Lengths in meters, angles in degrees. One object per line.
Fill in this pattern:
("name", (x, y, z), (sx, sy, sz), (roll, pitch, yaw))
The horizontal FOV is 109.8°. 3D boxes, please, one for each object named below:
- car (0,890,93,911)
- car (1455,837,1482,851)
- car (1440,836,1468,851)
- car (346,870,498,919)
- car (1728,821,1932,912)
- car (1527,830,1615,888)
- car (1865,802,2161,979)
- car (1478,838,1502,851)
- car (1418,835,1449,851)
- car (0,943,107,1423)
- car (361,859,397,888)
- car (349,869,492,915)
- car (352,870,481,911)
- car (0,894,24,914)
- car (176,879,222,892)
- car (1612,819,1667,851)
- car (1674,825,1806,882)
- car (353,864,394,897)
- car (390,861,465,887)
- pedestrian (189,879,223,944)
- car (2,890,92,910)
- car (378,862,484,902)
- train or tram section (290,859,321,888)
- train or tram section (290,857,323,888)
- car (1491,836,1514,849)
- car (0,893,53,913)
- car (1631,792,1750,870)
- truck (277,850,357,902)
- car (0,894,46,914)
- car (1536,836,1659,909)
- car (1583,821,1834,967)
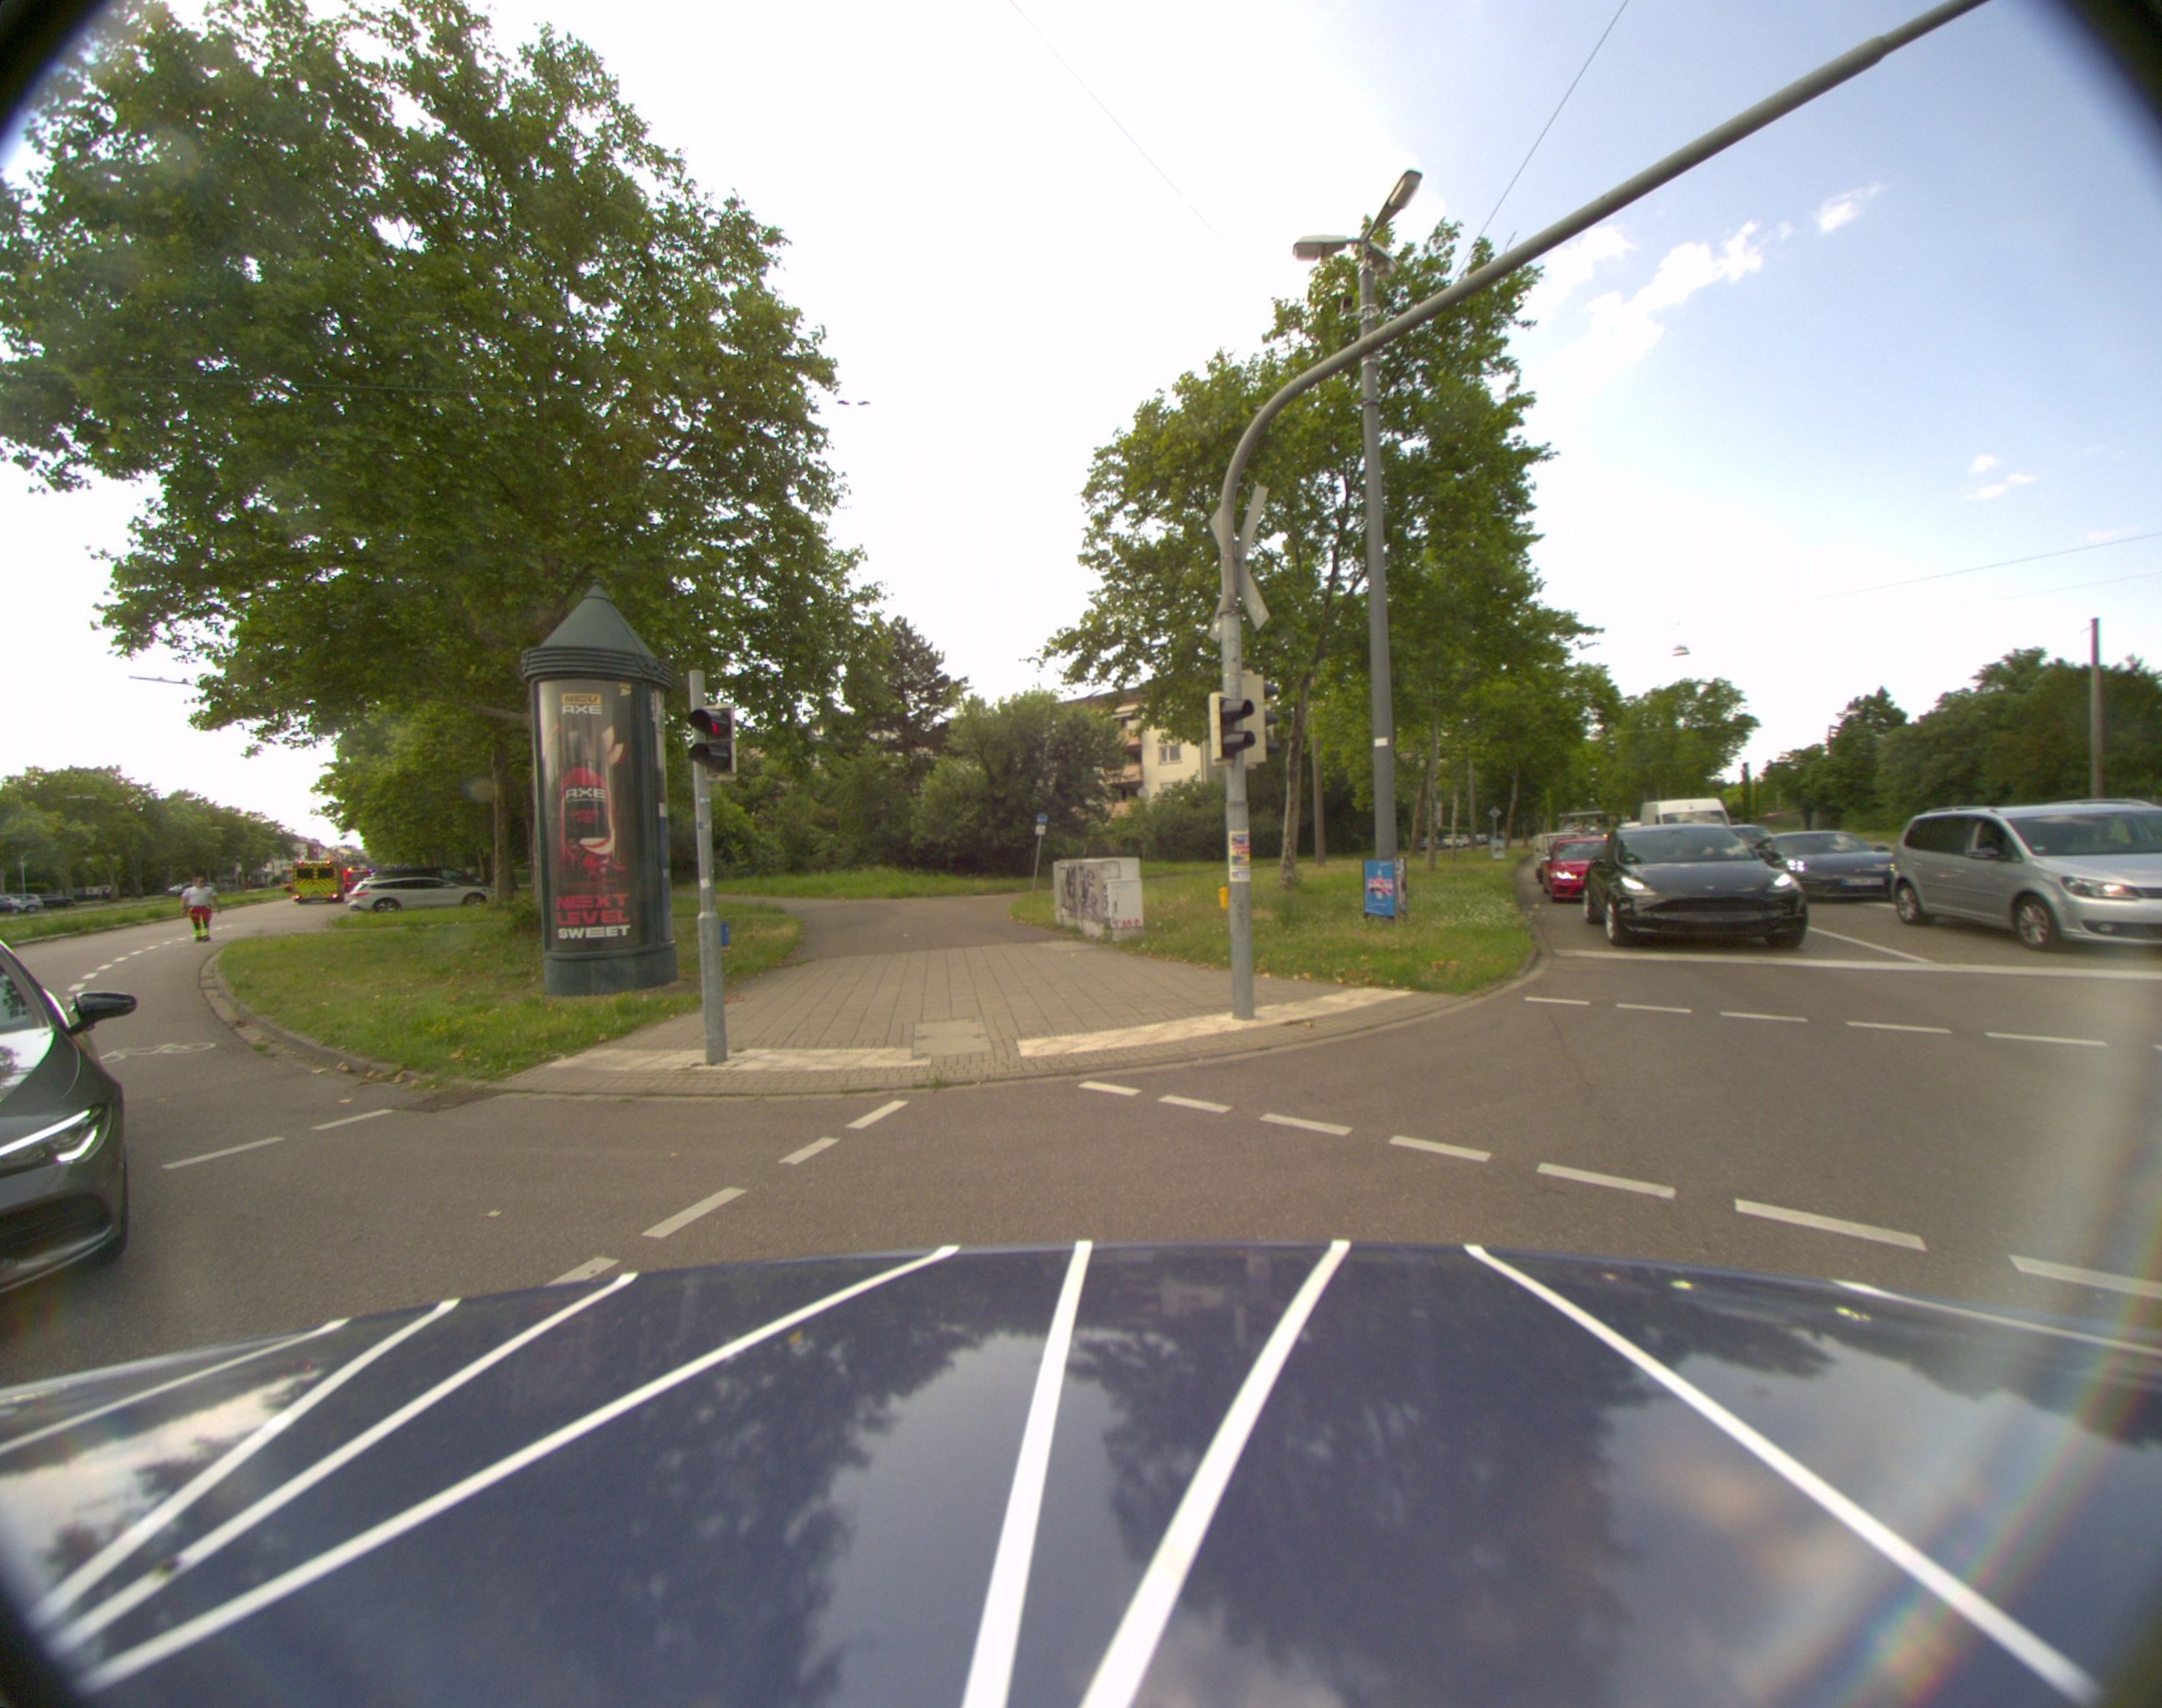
("car", (-86.044, 3.877, 63.197), (1.897, 1.356, 4.322), (-2, 1, 27))
("car", (44.724, -1.126, 87.681), (1.772, 1.586, 3.664), (-2, -1, 43))
("car", (41.520, -1.110, 84.626), (1.772, 1.586, 3.664), (-2, -1, 43))
("car", (-27.007, 1.604, 31.270), (4.551, 1.634, 1.995), (-3, 0, -43))
("car", (14.576, 0.175, 15.074), (1.800, 1.499, 4.006), (-4, 0, 29))
("car", (15.247, 0.100, 23.856), (1.798, 1.560, 4.509), (-4, 0, 27))
("car", (11.696, 0.274, 9.017), (1.926, 1.642, 4.509), (-4, 0, 27))
("car", (51.758, -1.157, 96.205), (1.772, 1.586, 3.664), (-2, -1, 43))
("car", (35.948, -1.081, 77.458), (1.772, 1.586, 3.664), (-2, -1, 43))
("car", (-5.809, 1.228, 3.192), (4.594, 1.385, 1.845), (-2, -1, 35))
("car", (-82.793, 2.330, 89.636), (2.981, 3.310, 7.439), (-1, -1, -43))
("car", (-28.743, 1.613, 33.177), (4.551, 1.634, 1.995), (-3, 0, -43))
("car", (-32.256, 1.736, 36.968), (4.551, 1.634, 1.995), (-3, 0, -43))
("car", (-80.477, 3.766, 55.005), (1.897, 1.356, 4.322), (-2, 1, 27))
("car", (-132.024, 4.730, 113.782), (1.818, 1.827, 4.006), (-2, -1, 18))
("car", (30.941, -1.062, 42.192), (1.760, 1.637, 4.350), (-2, 1, 27))
("car", (18.345, -0.060, 21.388), (1.761, 1.367, 4.350), (-4, 0, 27))
("car", (-74.438, 2.778, 79.994), (2.981, 3.297, 7.439), (-1, -1, -43))
("car", (-88.329, 2.672, 102.810), (2.967, 3.310, 7.475), (-2, -1, 44))
("pedestrian", (-23.518, 1.530, 20.429), (0.495, 1.674, 0.585), (-3, 1, -43))
("car", (-89.771, 4.011, 66.025), (1.897, 1.356, 4.322), (-2, 1, 27))
("car", (-38.153, 1.626, 44.754), (4.565, 2.002, 1.995), (-3, 1, -40))
("train or tram section", (-100.271, 2.484, 98.170), (7.401, 3.576, 2.500), (-1, 2, 43))
("train or tram section", (-94.910, 2.279, 93.103), (7.401, 3.576, 2.500), (-1, 2, 43))
("car", (56.761, -1.516, 102.330), (1.772, 1.586, 3.664), (-2, -1, 43))
("car", (-84.335, 3.925, 59.460), (1.897, 1.356, 4.322), (-2, 1, 27))
("car", (22.633, -0.843, 28.523), (2.222, 2.515, 5.942), (-4, 0, 27))
("truck", (-54.188, 1.497, 54.078), (3.199, 3.298, 7.502), (-3, 1, -40))
("car", (-82.471, 3.852, 57.660), (1.897, 1.356, 4.322), (-2, 1, 27))
("car", (12.006, 0.362, 17.939), (1.798, 1.383, 4.509), (-4, 0, 27))
("car", (8.668, 0.428, 10.994), (1.927, 1.642, 4.587), (-4, 0, 29))
